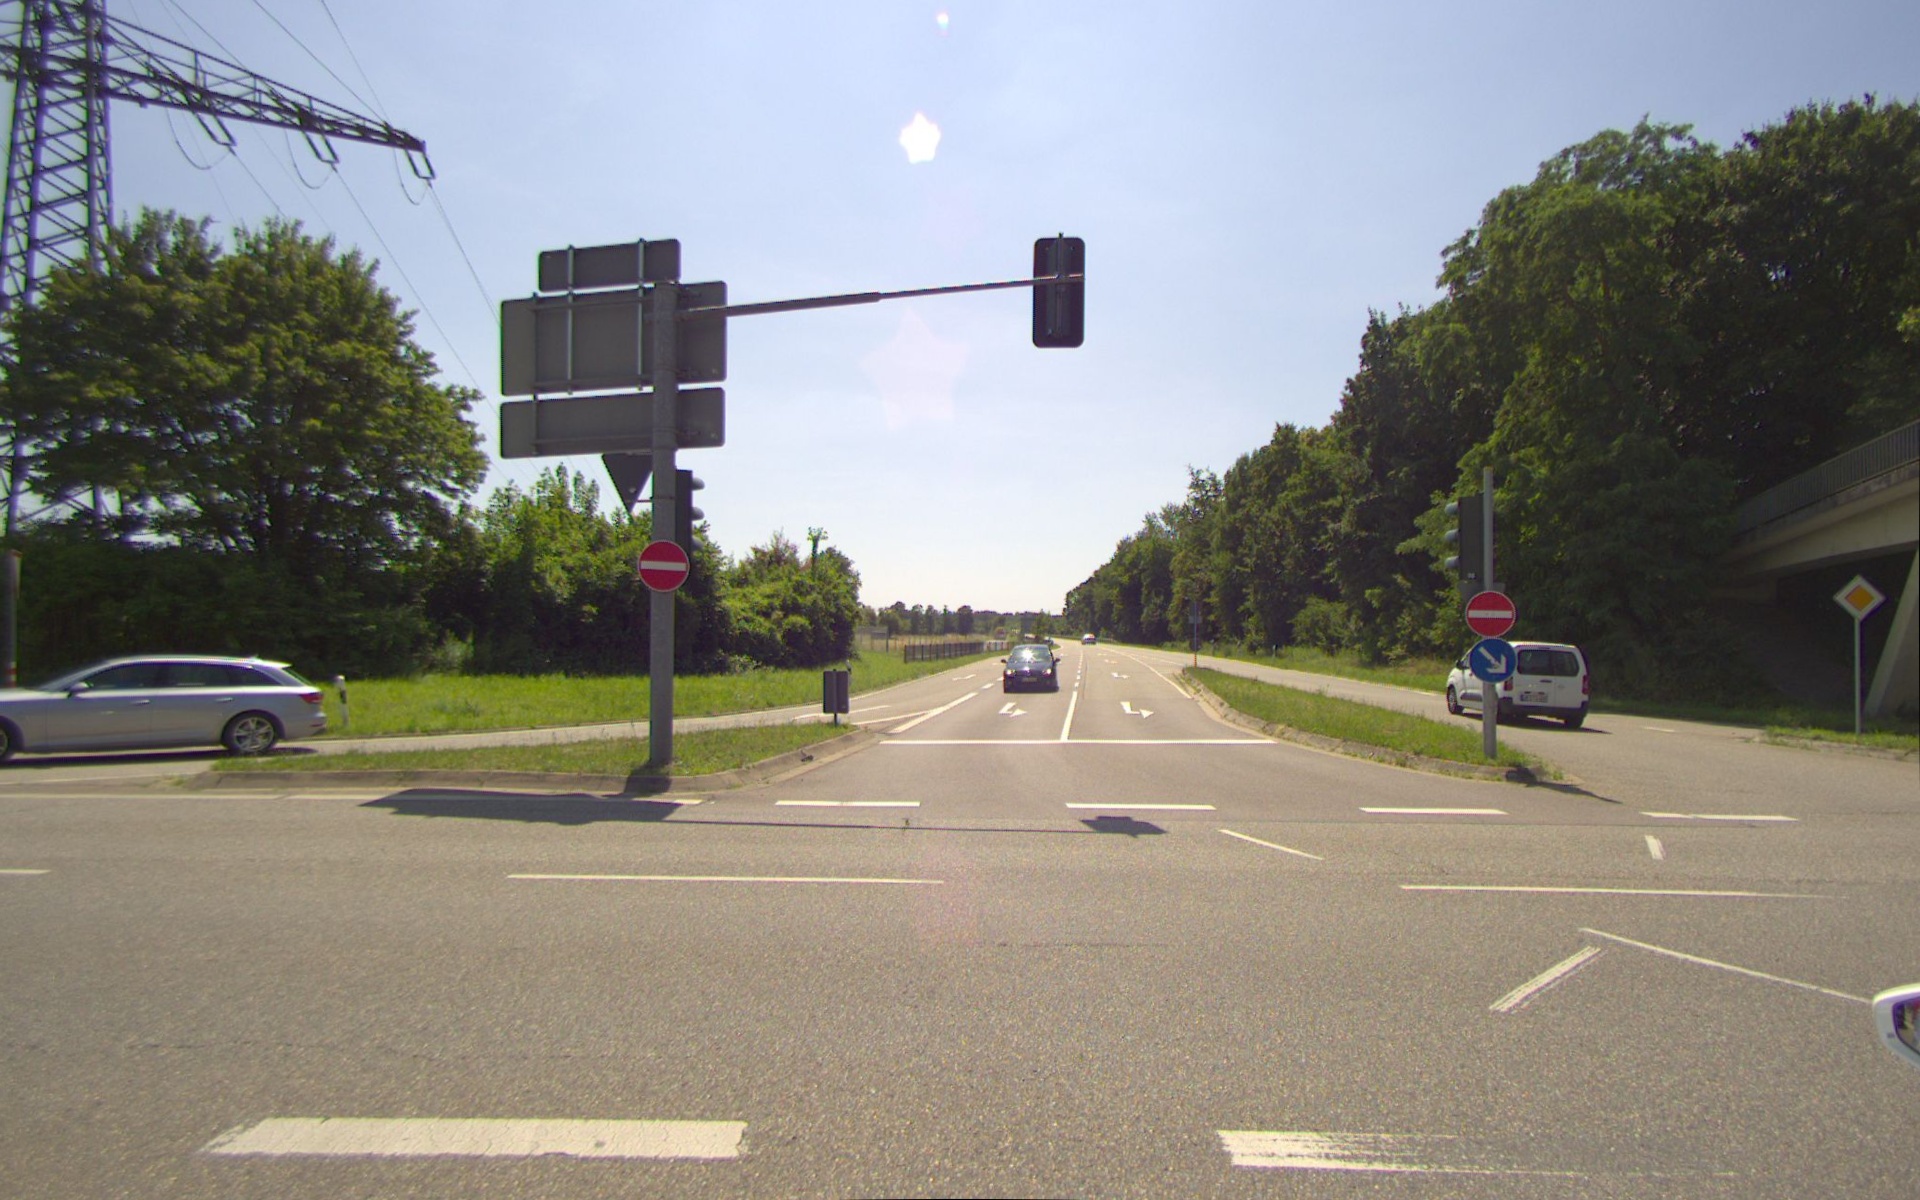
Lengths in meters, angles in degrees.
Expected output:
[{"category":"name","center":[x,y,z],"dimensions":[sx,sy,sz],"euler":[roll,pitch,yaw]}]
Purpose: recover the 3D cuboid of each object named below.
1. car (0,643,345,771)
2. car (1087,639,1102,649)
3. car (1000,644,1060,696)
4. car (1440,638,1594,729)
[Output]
[{"category":"car","center":[-11.726,1.457,14.358],"dimensions":[4.636,1.596,2.022],"euler":[4,-5,-45]},{"category":"car","center":[19.060,6.278,142.692],"dimensions":[1.960,1.391,4.785],"euler":[0,-2,5]},{"category":"car","center":[2.407,2.307,33.867],"dimensions":[1.706,1.551,4.171],"euler":[-3,-3,7]},{"category":"car","center":[12.669,1.824,23.139],"dimensions":[1.817,1.849,3.984],"euler":[0,-1,9]}]
